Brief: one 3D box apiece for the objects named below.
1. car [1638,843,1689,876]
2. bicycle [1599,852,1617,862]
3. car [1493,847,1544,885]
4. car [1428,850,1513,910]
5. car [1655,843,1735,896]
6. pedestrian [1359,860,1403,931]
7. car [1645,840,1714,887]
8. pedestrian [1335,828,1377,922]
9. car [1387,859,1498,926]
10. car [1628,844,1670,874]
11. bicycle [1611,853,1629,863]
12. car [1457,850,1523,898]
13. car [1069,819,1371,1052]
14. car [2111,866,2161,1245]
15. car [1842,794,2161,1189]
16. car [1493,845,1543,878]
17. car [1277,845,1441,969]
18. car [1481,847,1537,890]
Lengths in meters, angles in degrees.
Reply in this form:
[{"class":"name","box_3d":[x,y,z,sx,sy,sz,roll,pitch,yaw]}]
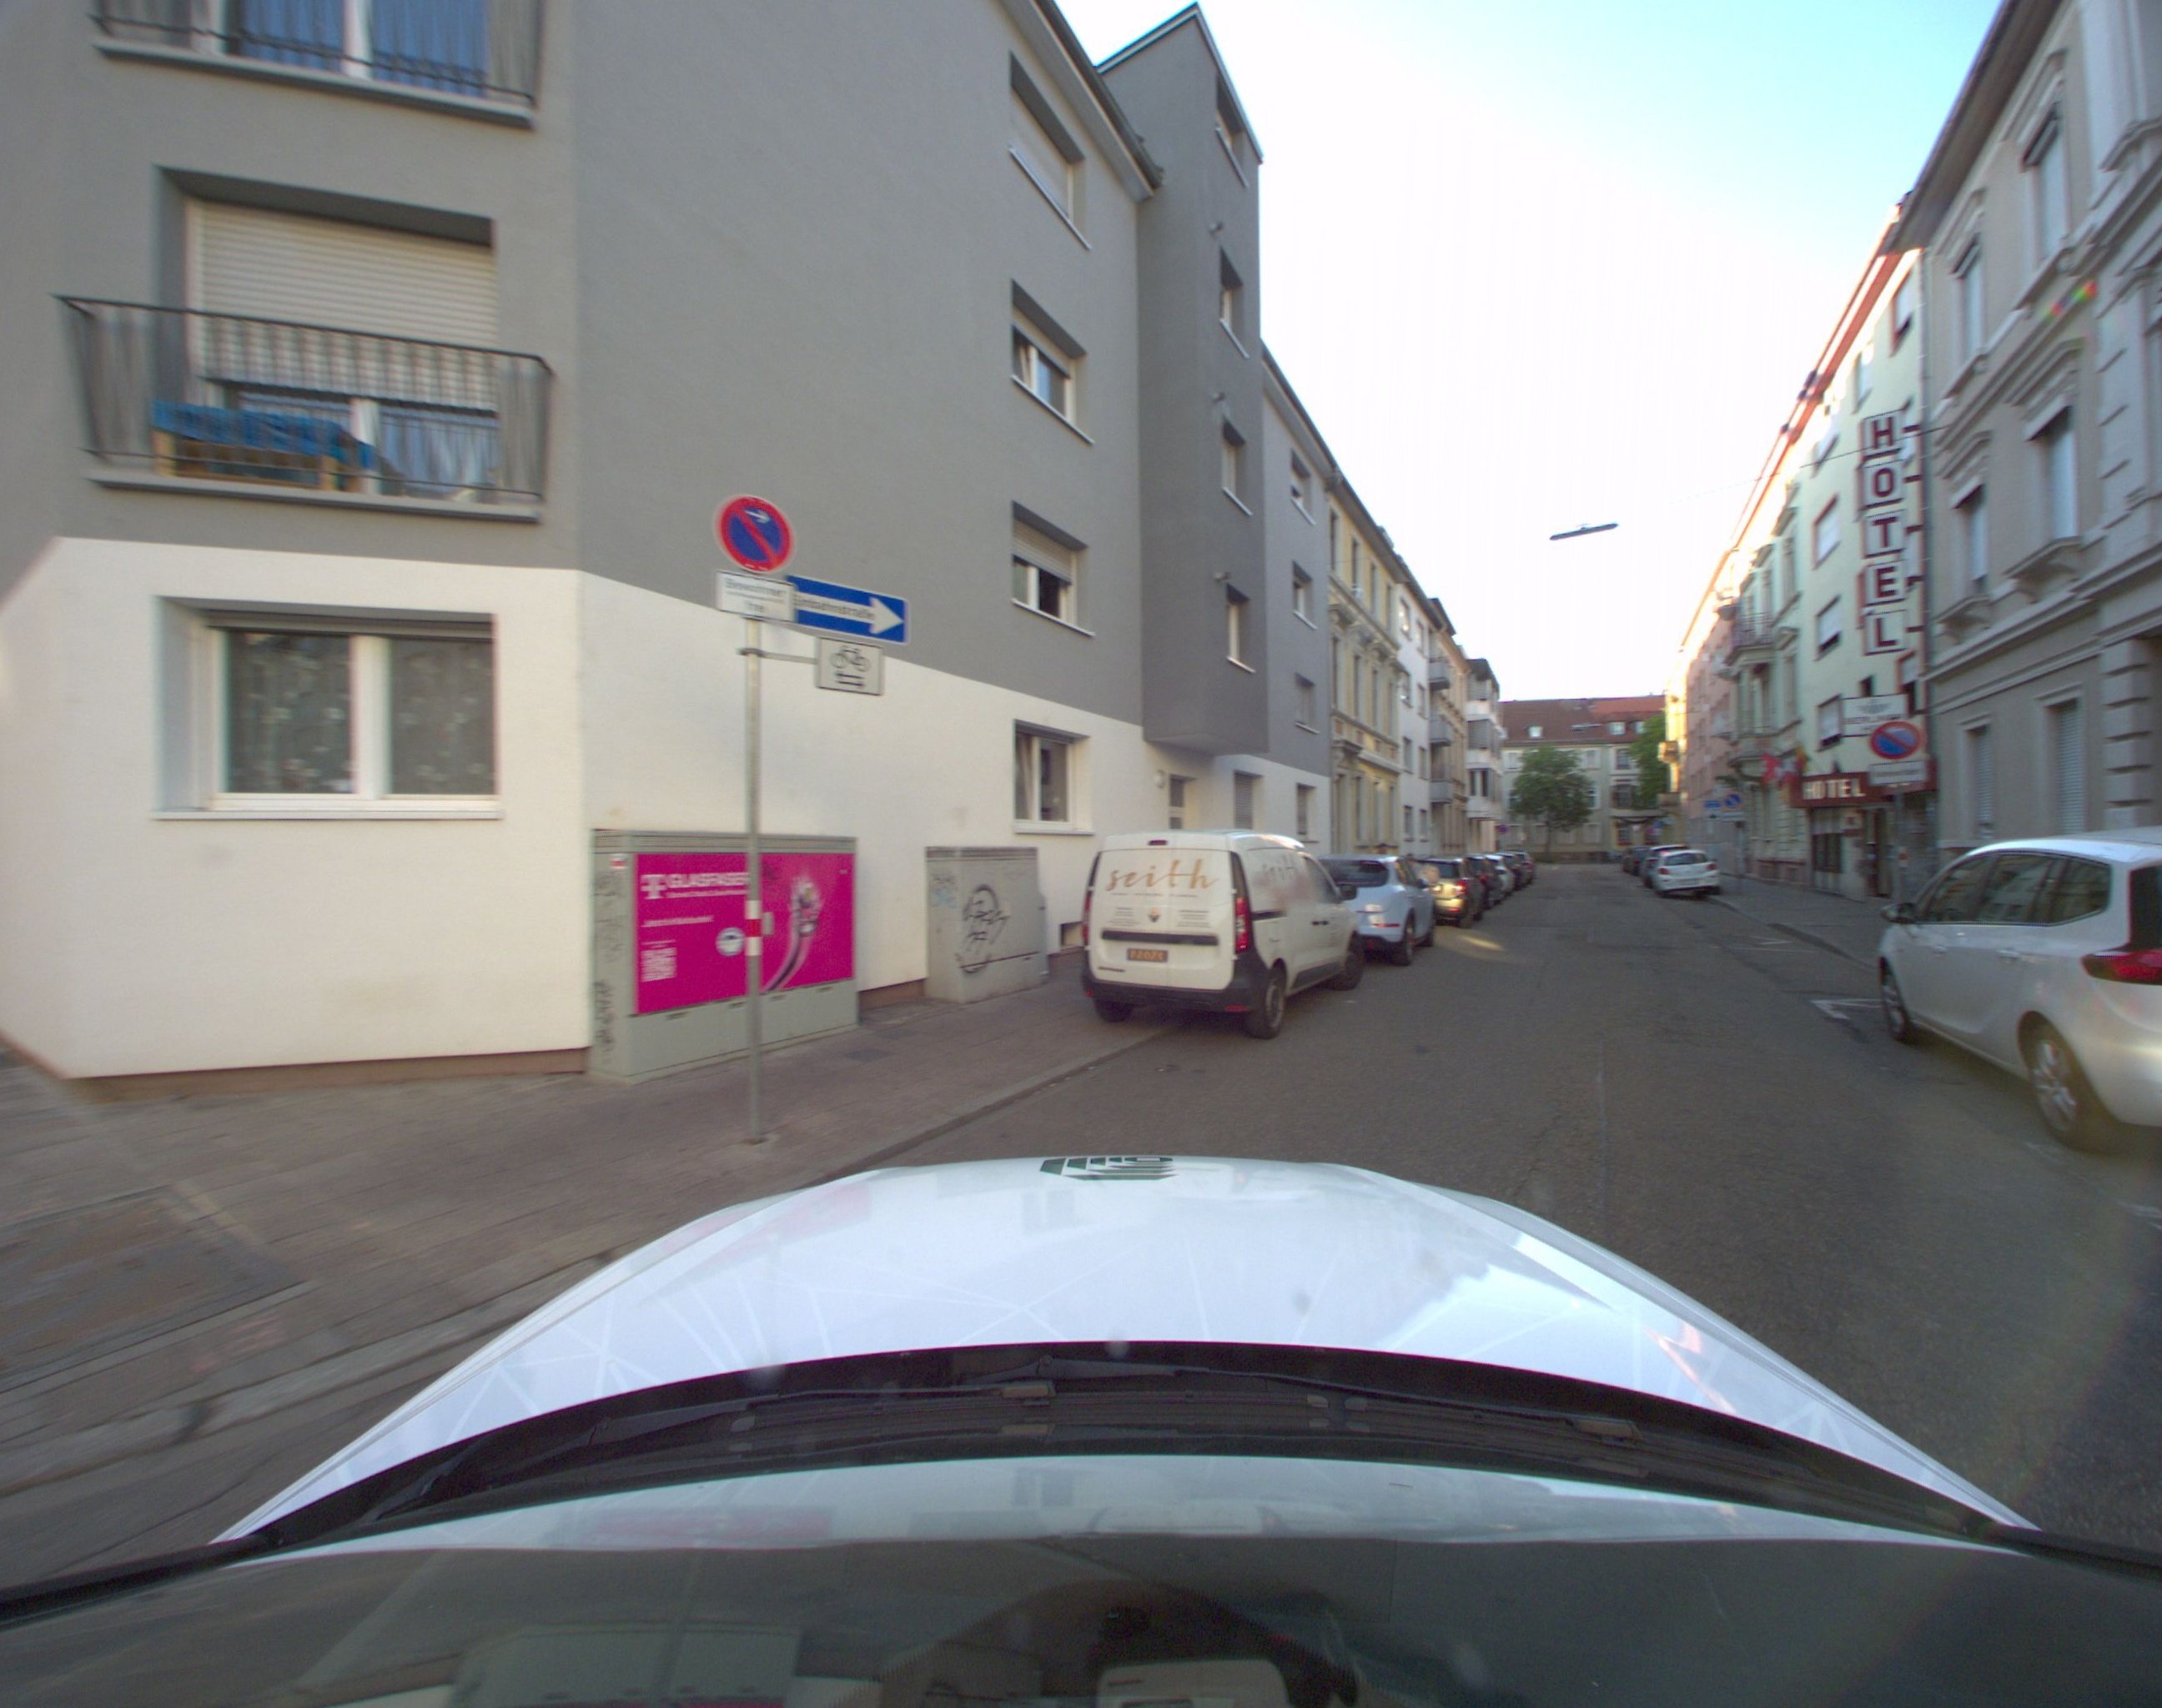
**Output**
[{"class":"car","box_3d":[32.329,0.299,45.286,1.974,1.708,4.025,-2,0,32]},{"class":"bicycle","box_3d":[50.438,0.257,77.956,0.516,0.949,1.725,-1,0,0]},{"class":"car","box_3d":[20.446,0.512,37.999,1.974,1.666,4.436,-1,0,29]},{"class":"car","box_3d":[11.251,0.685,23.382,1.711,1.509,3.855,-1,0,33]},{"class":"car","box_3d":[20.088,0.472,26.783,1.646,1.459,3.783,-8,-4,32]},{"class":"pedestrian","box_3d":[6.065,0.830,16.507,0.657,1.410,0.673,-1,0,5]},{"class":"car","box_3d":[23.609,0.353,32.259,1.974,1.732,4.085,-1,0,33]},{"class":"pedestrian","box_3d":[6.077,0.454,17.999,0.790,2.014,0.780,-1,-1,23]},{"class":"car","box_3d":[8.225,0.783,18.346,1.667,1.332,4.157,-1,-1,32]},{"class":"car","box_3d":[34.858,0.300,50.043,1.974,1.761,4.026,-2,0,34]},{"class":"bicycle","box_3d":[50.420,0.382,76.216,0.516,0.894,1.725,0,-1,0]},{"class":"car","box_3d":[13.942,0.623,27.665,1.614,1.472,3.778,-1,0,33]},{"class":"car","box_3d":[1.710,0.612,8.531,1.615,1.813,4.212,-1,0,32]},{"class":"car","box_3d":[3.625,0.781,0.854,1.866,1.408,4.760,-1,0,35]},{"class":"car","box_3d":[6.517,0.554,5.068,1.799,1.723,4.490,-1,0,33]},{"class":"car","box_3d":[23.363,0.370,43.479,1.974,1.662,4.003,-2,0,34]},{"class":"car","box_3d":[4.586,0.688,12.985,1.747,1.563,4.393,-1,1,28]},{"class":"car","box_3d":[17.271,0.539,32.761,1.599,1.570,4.331,-1,0,33]}]
